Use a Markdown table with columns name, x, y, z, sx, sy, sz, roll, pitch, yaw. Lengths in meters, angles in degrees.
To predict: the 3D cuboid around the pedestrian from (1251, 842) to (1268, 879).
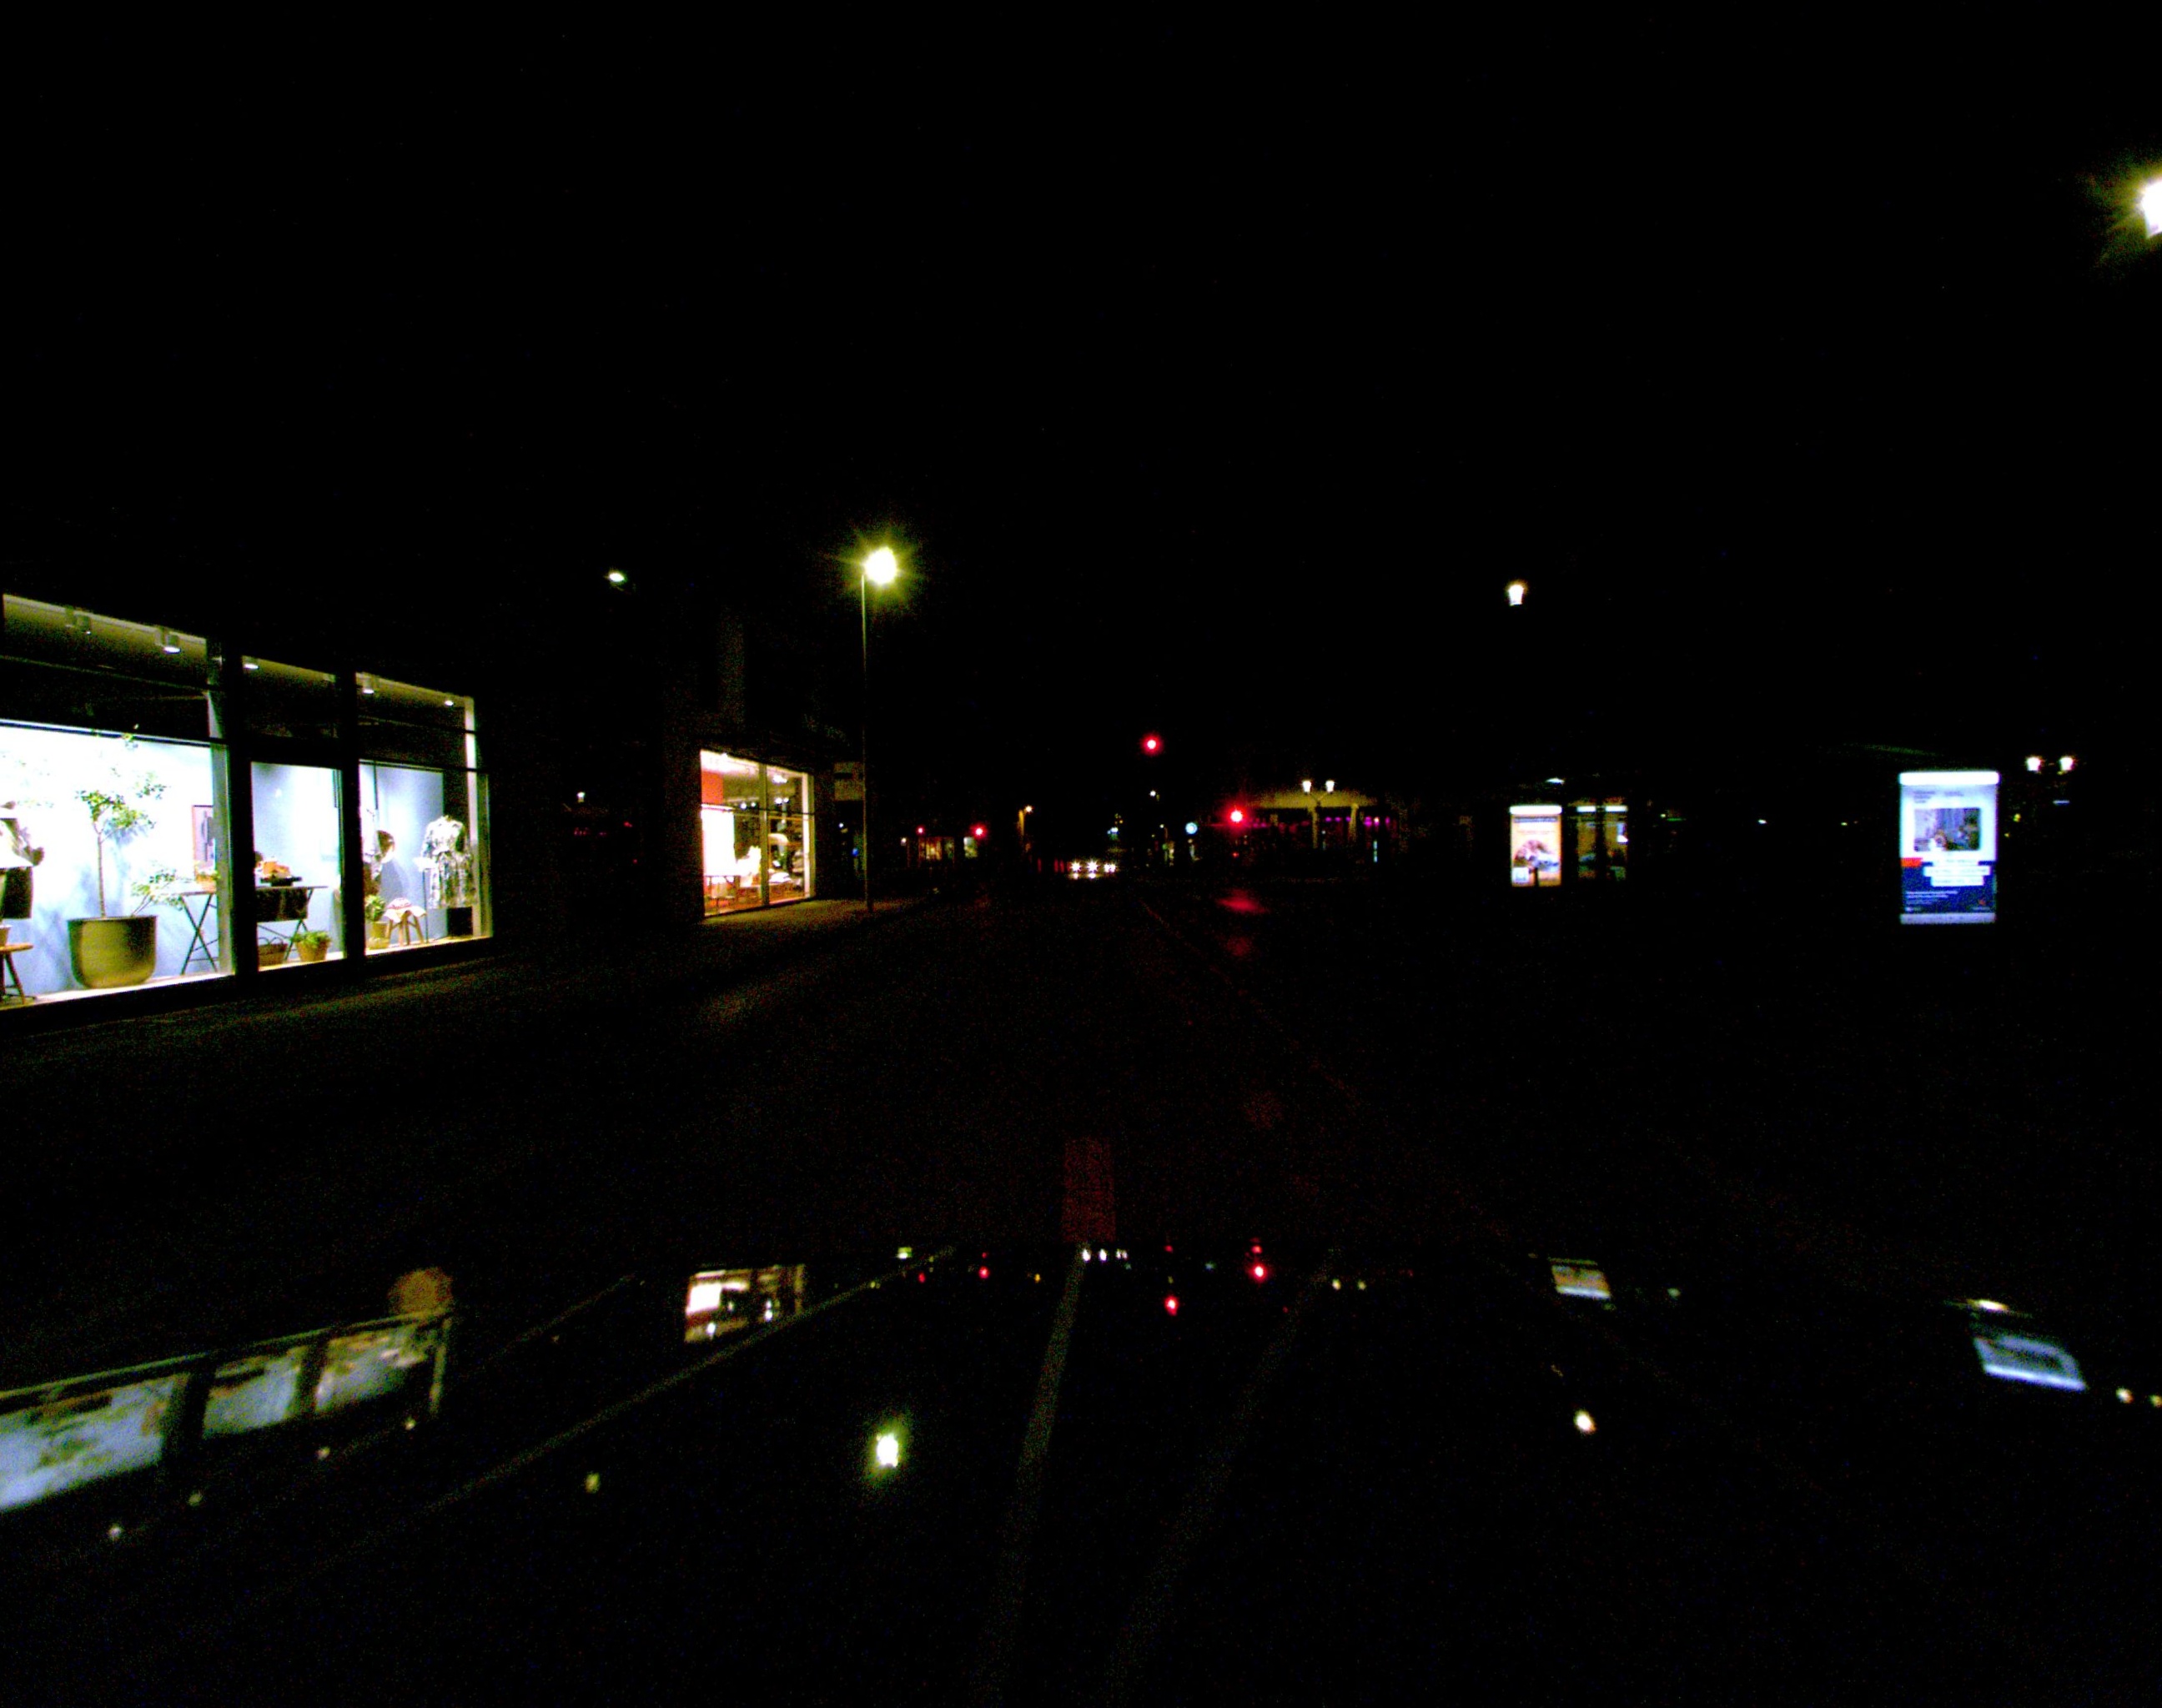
| name | x | y | z | sx | sy | sz | roll | pitch | yaw |
| --- | --- | --- | --- | --- | --- | --- | --- | --- | --- |
| pedestrian | 8.137 | 0.291 | 34.622 | 0.582 | 1.672 | 0.648 | -2 | 1 | 22 |

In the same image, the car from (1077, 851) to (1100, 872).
| name | x | y | z | sx | sy | sz | roll | pitch | yaw |
| --- | --- | --- | --- | --- | --- | --- | --- | --- | --- |
| car | 0.685 | 0.622 | 66.065 | 1.713 | 1.660 | 3.738 | -2 | 1 | 3 |

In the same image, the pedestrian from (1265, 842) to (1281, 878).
| name | x | y | z | sx | sy | sz | roll | pitch | yaw |
| --- | --- | --- | --- | --- | --- | --- | --- | --- | --- |
| pedestrian | 8.704 | 0.275 | 34.392 | 0.582 | 1.619 | 0.648 | -2 | 1 | 23 |

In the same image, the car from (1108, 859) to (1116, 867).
| name | x | y | z | sx | sy | sz | roll | pitch | yaw |
| --- | --- | --- | --- | --- | --- | --- | --- | --- | --- |
| car | 7.429 | 2.155 | 182.983 | 1.879 | 1.718 | 3.999 | -2 | 1 | 1 |

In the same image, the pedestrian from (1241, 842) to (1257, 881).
| name | x | y | z | sx | sy | sz | roll | pitch | yaw |
| --- | --- | --- | --- | --- | --- | --- | --- | --- | --- |
| pedestrian | 7.321 | 0.316 | 33.114 | 0.539 | 1.672 | 0.648 | -2 | 1 | 23 |

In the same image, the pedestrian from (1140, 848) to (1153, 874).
| name | x | y | z | sx | sy | sz | roll | pitch | yaw |
| --- | --- | --- | --- | --- | --- | --- | --- | --- | --- |
| pedestrian | 4.400 | 0.452 | 50.857 | 0.877 | 1.723 | 0.647 | 0 | 1 | 4 |

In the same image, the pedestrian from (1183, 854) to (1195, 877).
| name | x | y | z | sx | sy | sz | roll | pitch | yaw |
| --- | --- | --- | --- | --- | --- | --- | --- | --- | --- |
| pedestrian | 6.930 | 0.742 | 48.650 | 0.647 | 1.487 | 0.829 | 0 | 1 | -1 |
